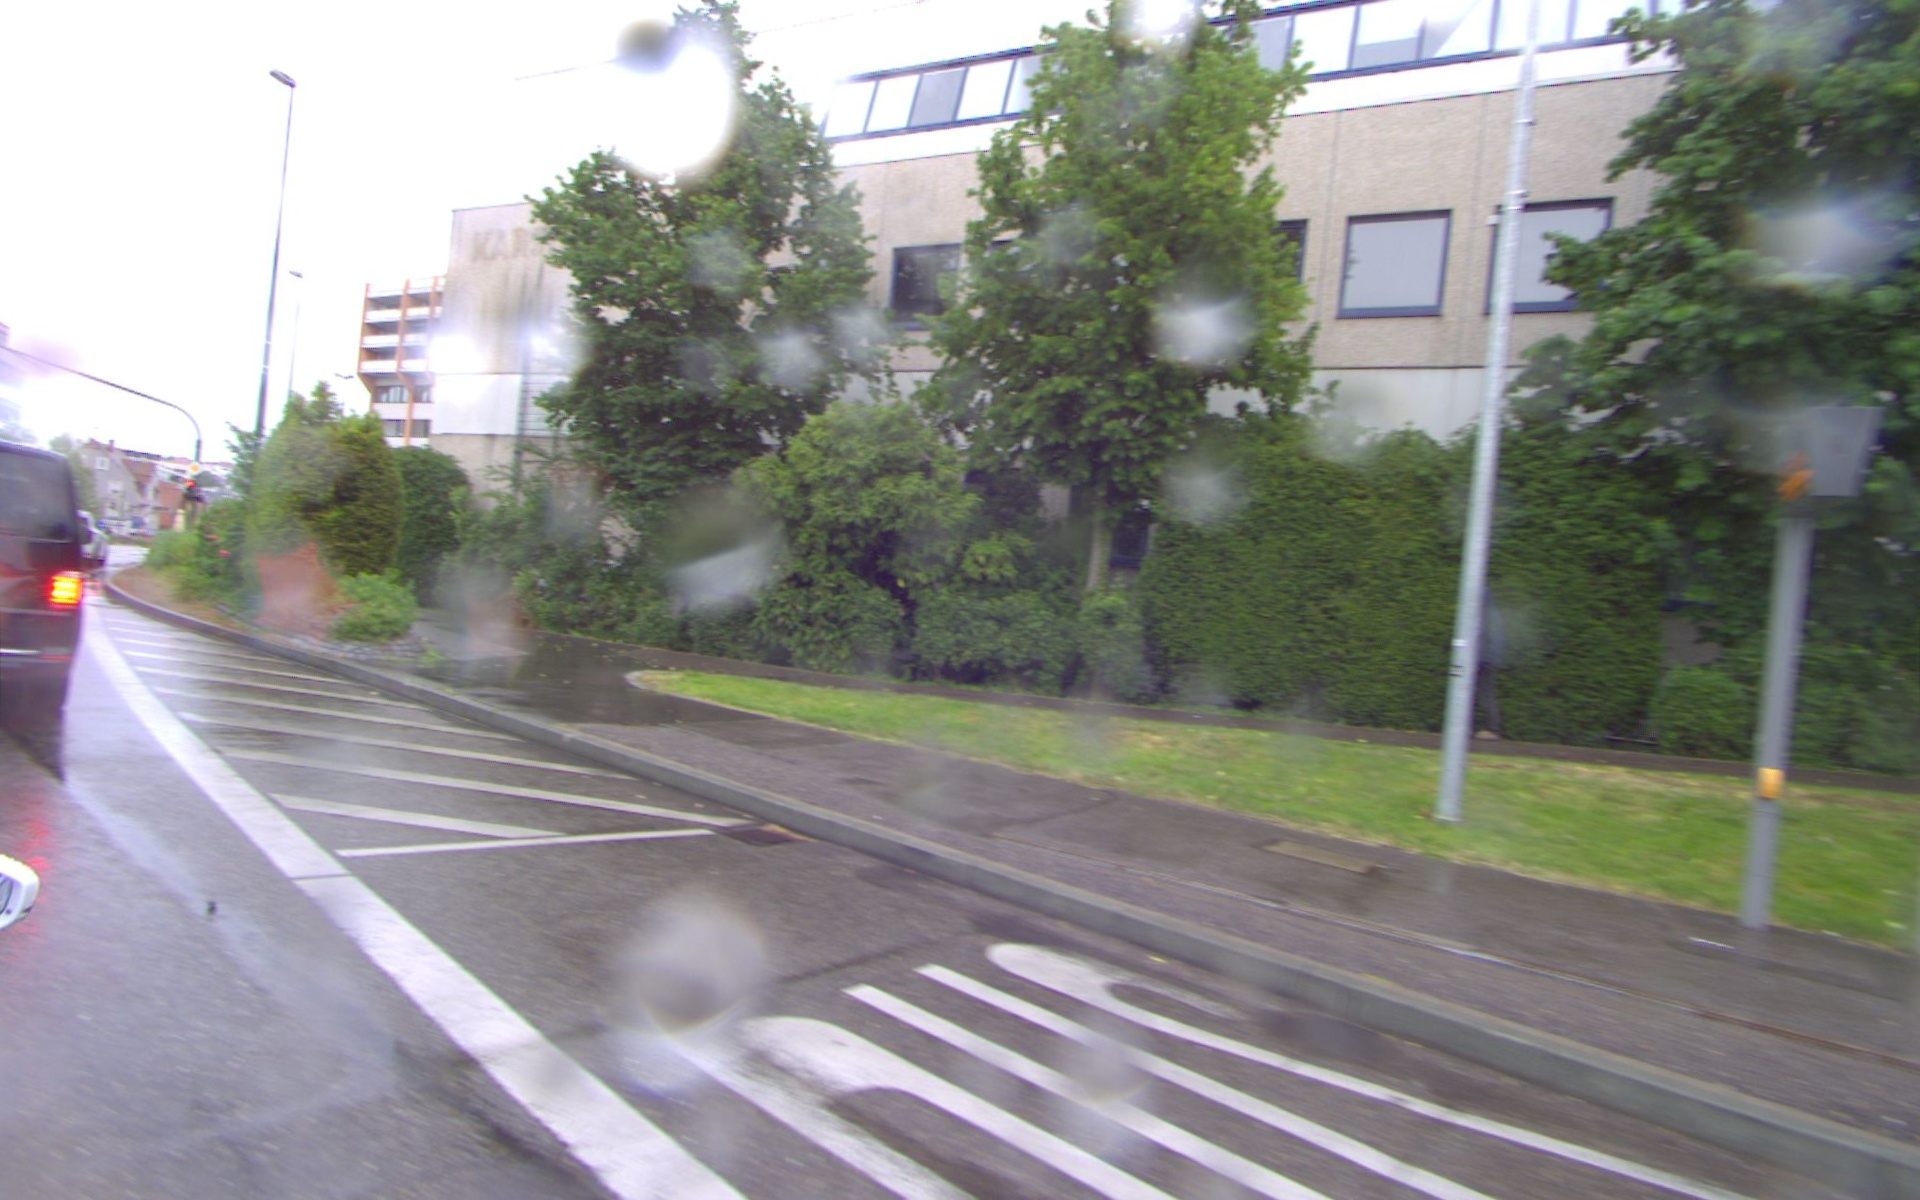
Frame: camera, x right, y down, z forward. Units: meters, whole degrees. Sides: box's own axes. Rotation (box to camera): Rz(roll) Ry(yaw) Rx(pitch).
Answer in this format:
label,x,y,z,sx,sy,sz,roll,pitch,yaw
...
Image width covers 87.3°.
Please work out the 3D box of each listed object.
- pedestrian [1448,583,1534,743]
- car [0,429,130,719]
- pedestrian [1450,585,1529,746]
label,x,y,z,sx,sy,sz,roll,pitch,yaw
pedestrian,6.399,0.758,12.143,0.783,1.817,0.849,4,-2,28
car,-8.265,-0.347,8.028,1.991,1.916,4.529,8,-2,-45
pedestrian,6.304,0.773,12.015,0.662,1.819,0.674,5,0,26
